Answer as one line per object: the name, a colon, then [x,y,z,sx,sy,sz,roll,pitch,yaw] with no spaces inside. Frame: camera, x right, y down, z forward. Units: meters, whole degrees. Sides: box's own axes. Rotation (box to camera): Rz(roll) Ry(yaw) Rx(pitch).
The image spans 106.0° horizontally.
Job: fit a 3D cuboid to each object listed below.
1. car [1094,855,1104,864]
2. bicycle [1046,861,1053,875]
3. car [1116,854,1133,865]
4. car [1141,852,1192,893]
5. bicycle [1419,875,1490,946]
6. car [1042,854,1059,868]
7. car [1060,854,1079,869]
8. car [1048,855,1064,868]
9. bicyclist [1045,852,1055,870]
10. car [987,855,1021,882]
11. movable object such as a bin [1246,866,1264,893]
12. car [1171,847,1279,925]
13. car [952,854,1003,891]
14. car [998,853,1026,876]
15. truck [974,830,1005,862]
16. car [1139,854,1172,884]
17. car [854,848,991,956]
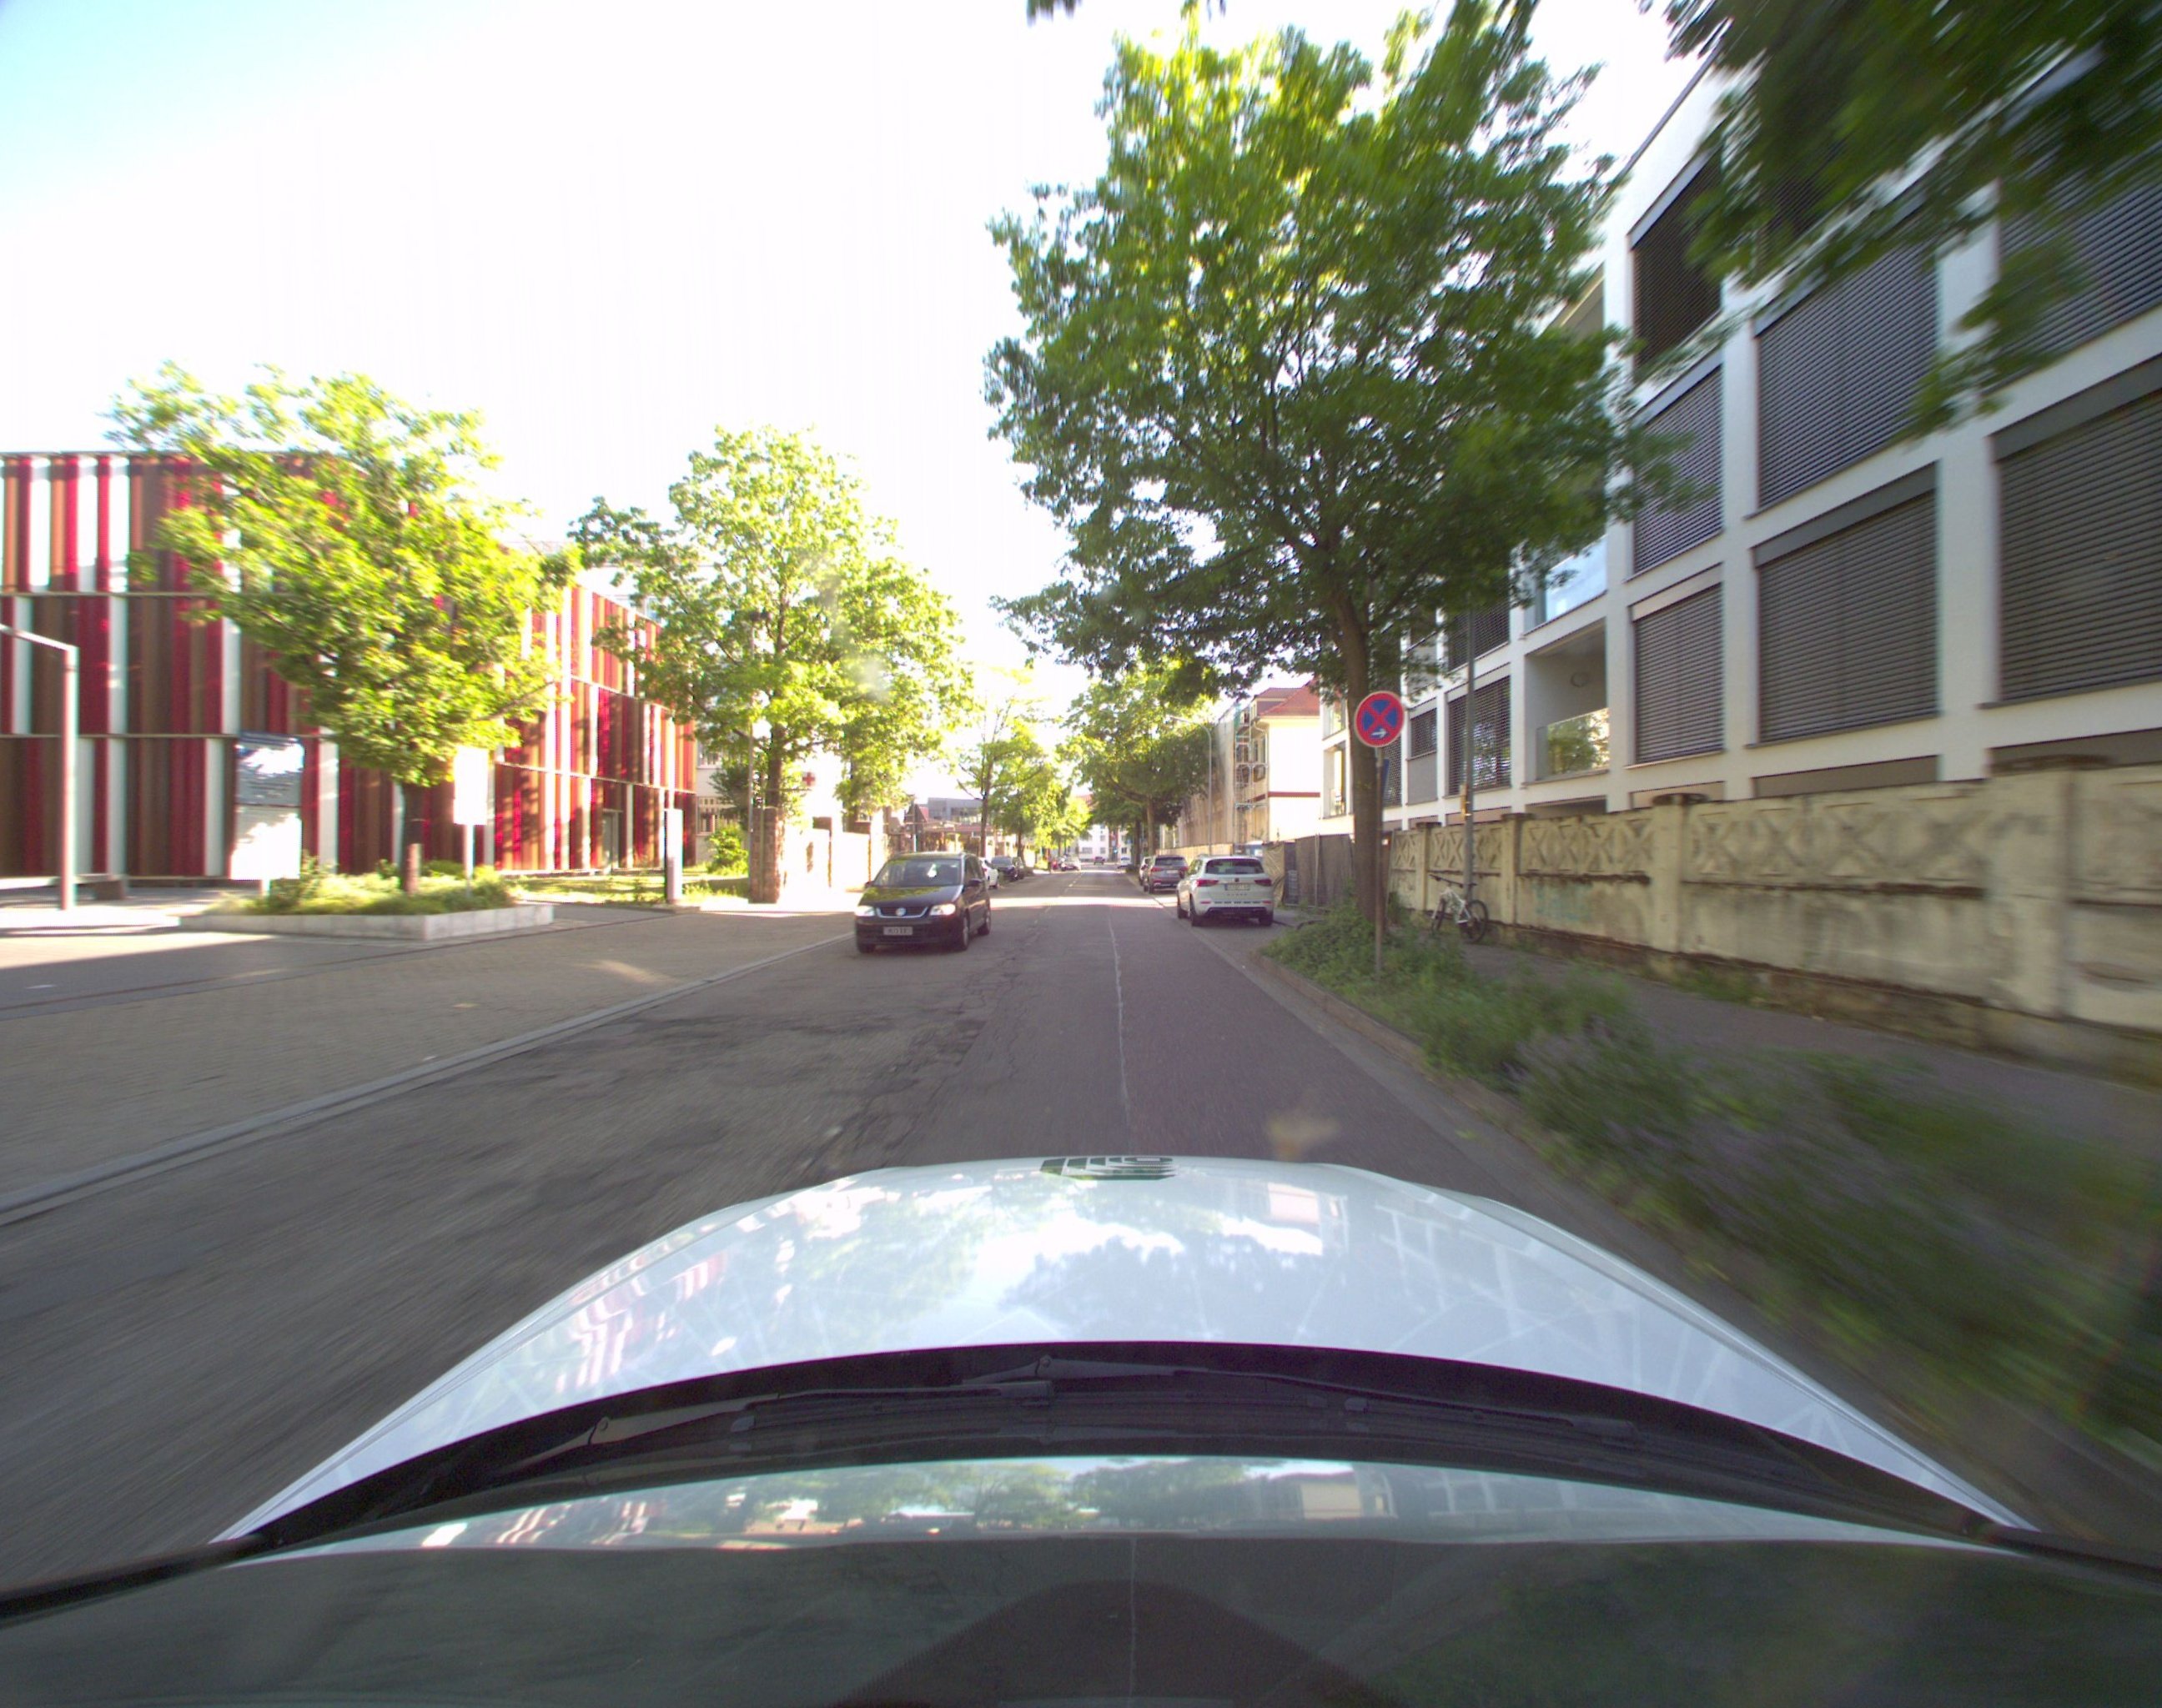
car: [3.288,1.000,147.881,1.633,1.443,3.422,2,0,2]
bicycle: [-2.673,1.196,69.505,0.356,1.120,1.867,2,0,2]
car: [5.349,0.708,100.486,1.826,1.323,4.496,0,0,1]
car: [3.648,0.754,35.351,1.707,1.638,4.301,0,0,-1]
bicycle: [6.055,0.879,13.298,0.335,1.041,1.831,1,0,1]
car: [-3.434,0.802,93.078,1.603,1.459,3.709,2,0,2]
car: [-1.137,0.716,82.826,1.816,1.436,3.968,3,0,-1]
car: [-3.288,0.940,106.630,1.730,1.592,4.109,1,0,3]
bicyclist: [-2.664,0.579,69.474,0.717,1.522,1.006,2,-1,4]
car: [-4.591,0.858,49.057,1.568,1.515,4.044,1,0,0]
movable object such as a bin: [6.904,0.997,32.342,0.595,1.027,0.565,2,-1,4]
car: [3.288,0.680,19.325,1.787,1.615,4.125,1,0,0]
car: [-4.698,0.816,37.565,1.670,1.511,3.851,3,0,2]
car: [-4.558,0.707,54.401,1.683,1.422,3.834,2,0,-3]
truck: [-11.119,-0.897,99.726,2.723,3.711,7.429,2,0,1]
car: [4.003,0.770,44.110,1.716,1.510,3.996,-1,0,4]
car: [-2.638,0.730,14.442,1.638,1.611,4.019,-1,0,-1]
